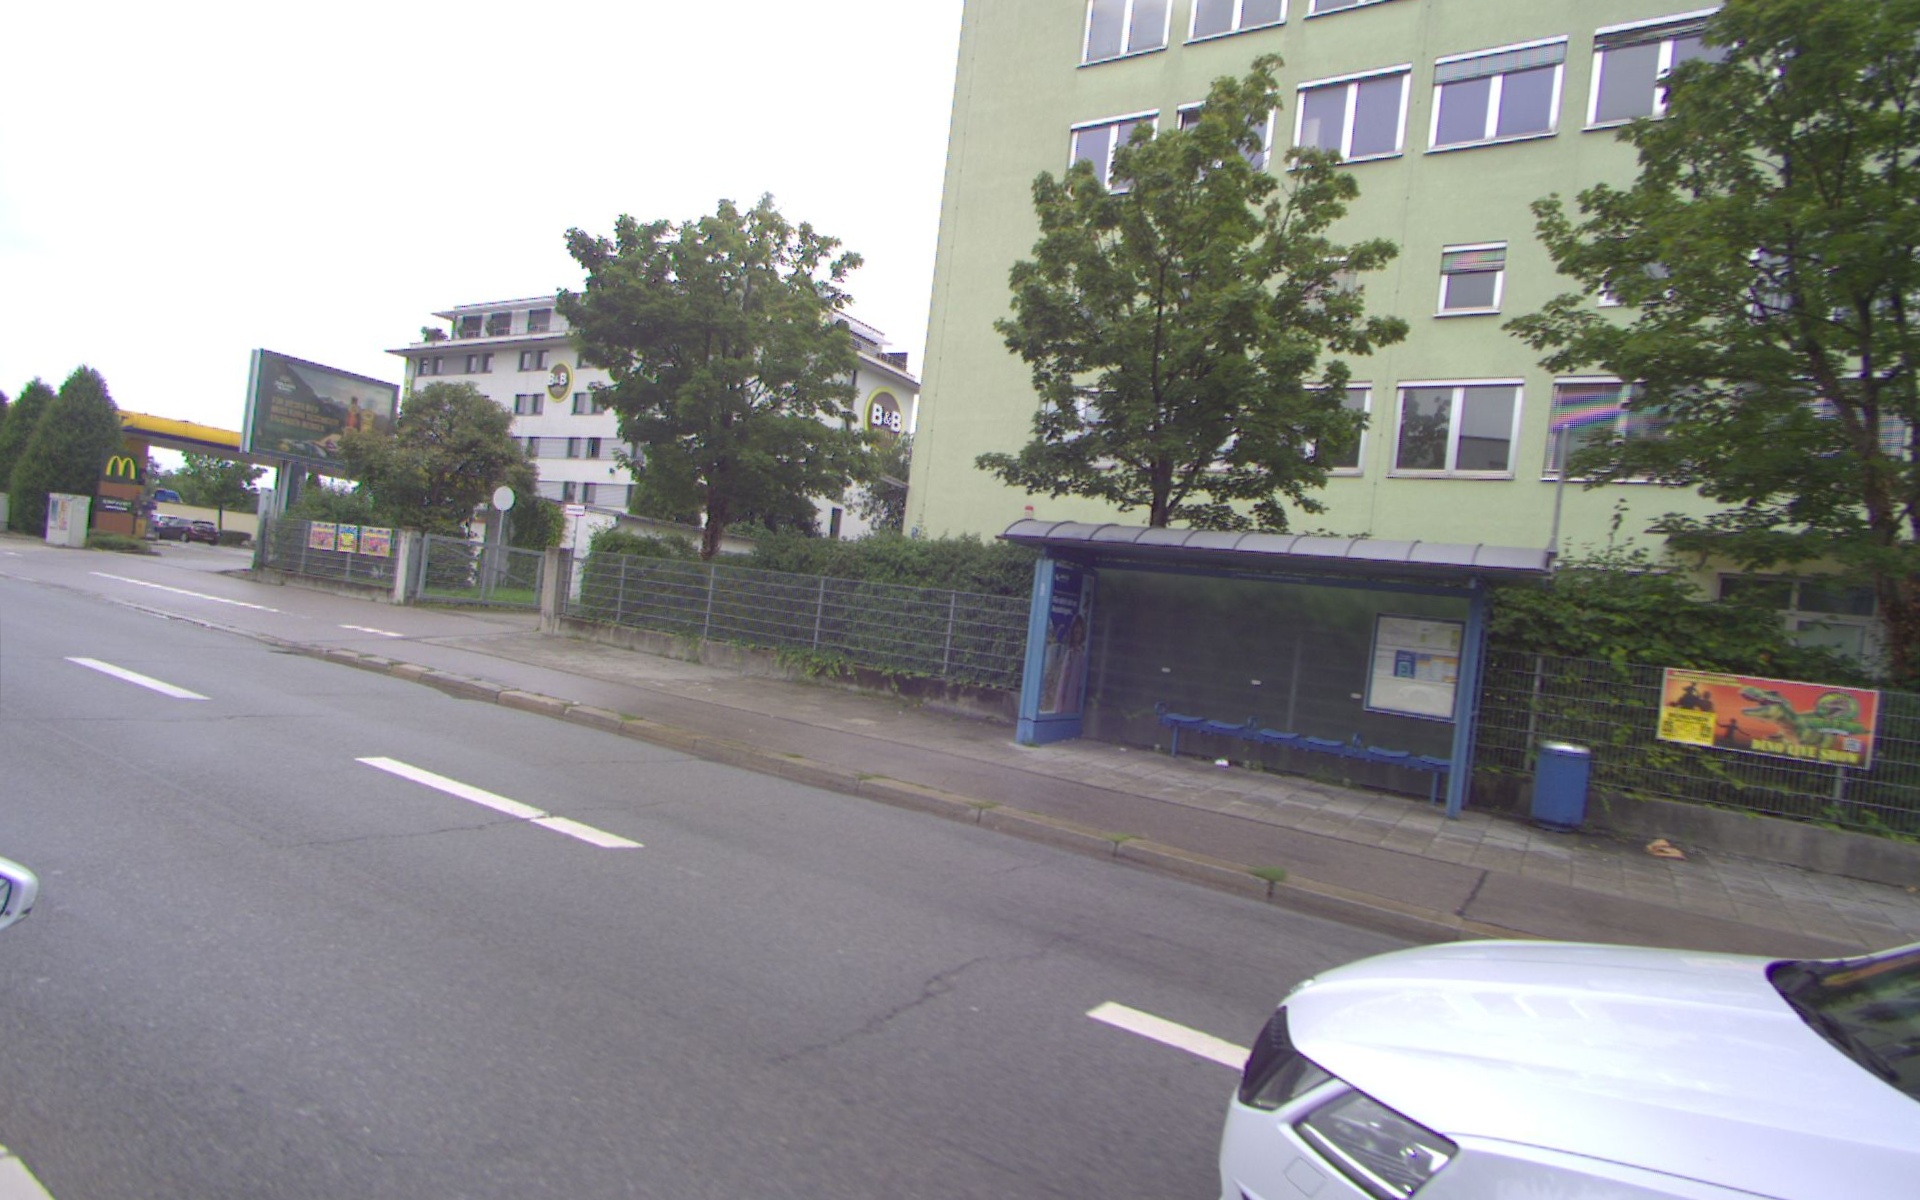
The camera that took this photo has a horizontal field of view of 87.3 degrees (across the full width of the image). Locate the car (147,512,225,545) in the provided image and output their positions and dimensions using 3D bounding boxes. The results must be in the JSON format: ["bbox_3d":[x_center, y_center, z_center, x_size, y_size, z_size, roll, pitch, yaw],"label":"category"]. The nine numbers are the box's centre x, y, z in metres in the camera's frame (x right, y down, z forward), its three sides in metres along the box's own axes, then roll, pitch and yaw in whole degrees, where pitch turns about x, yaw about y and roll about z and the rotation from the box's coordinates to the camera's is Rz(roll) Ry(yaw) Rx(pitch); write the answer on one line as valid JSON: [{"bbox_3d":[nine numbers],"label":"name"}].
[{"bbox_3d":[-46.654,-4.314,60.656,4.284,1.400,1.704,7,-1,22],"label":"car"}]

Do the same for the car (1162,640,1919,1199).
[{"bbox_3d":[2.749,1.109,1.488,4.426,1.485,1.881,6,-1,31],"label":"car"}]
